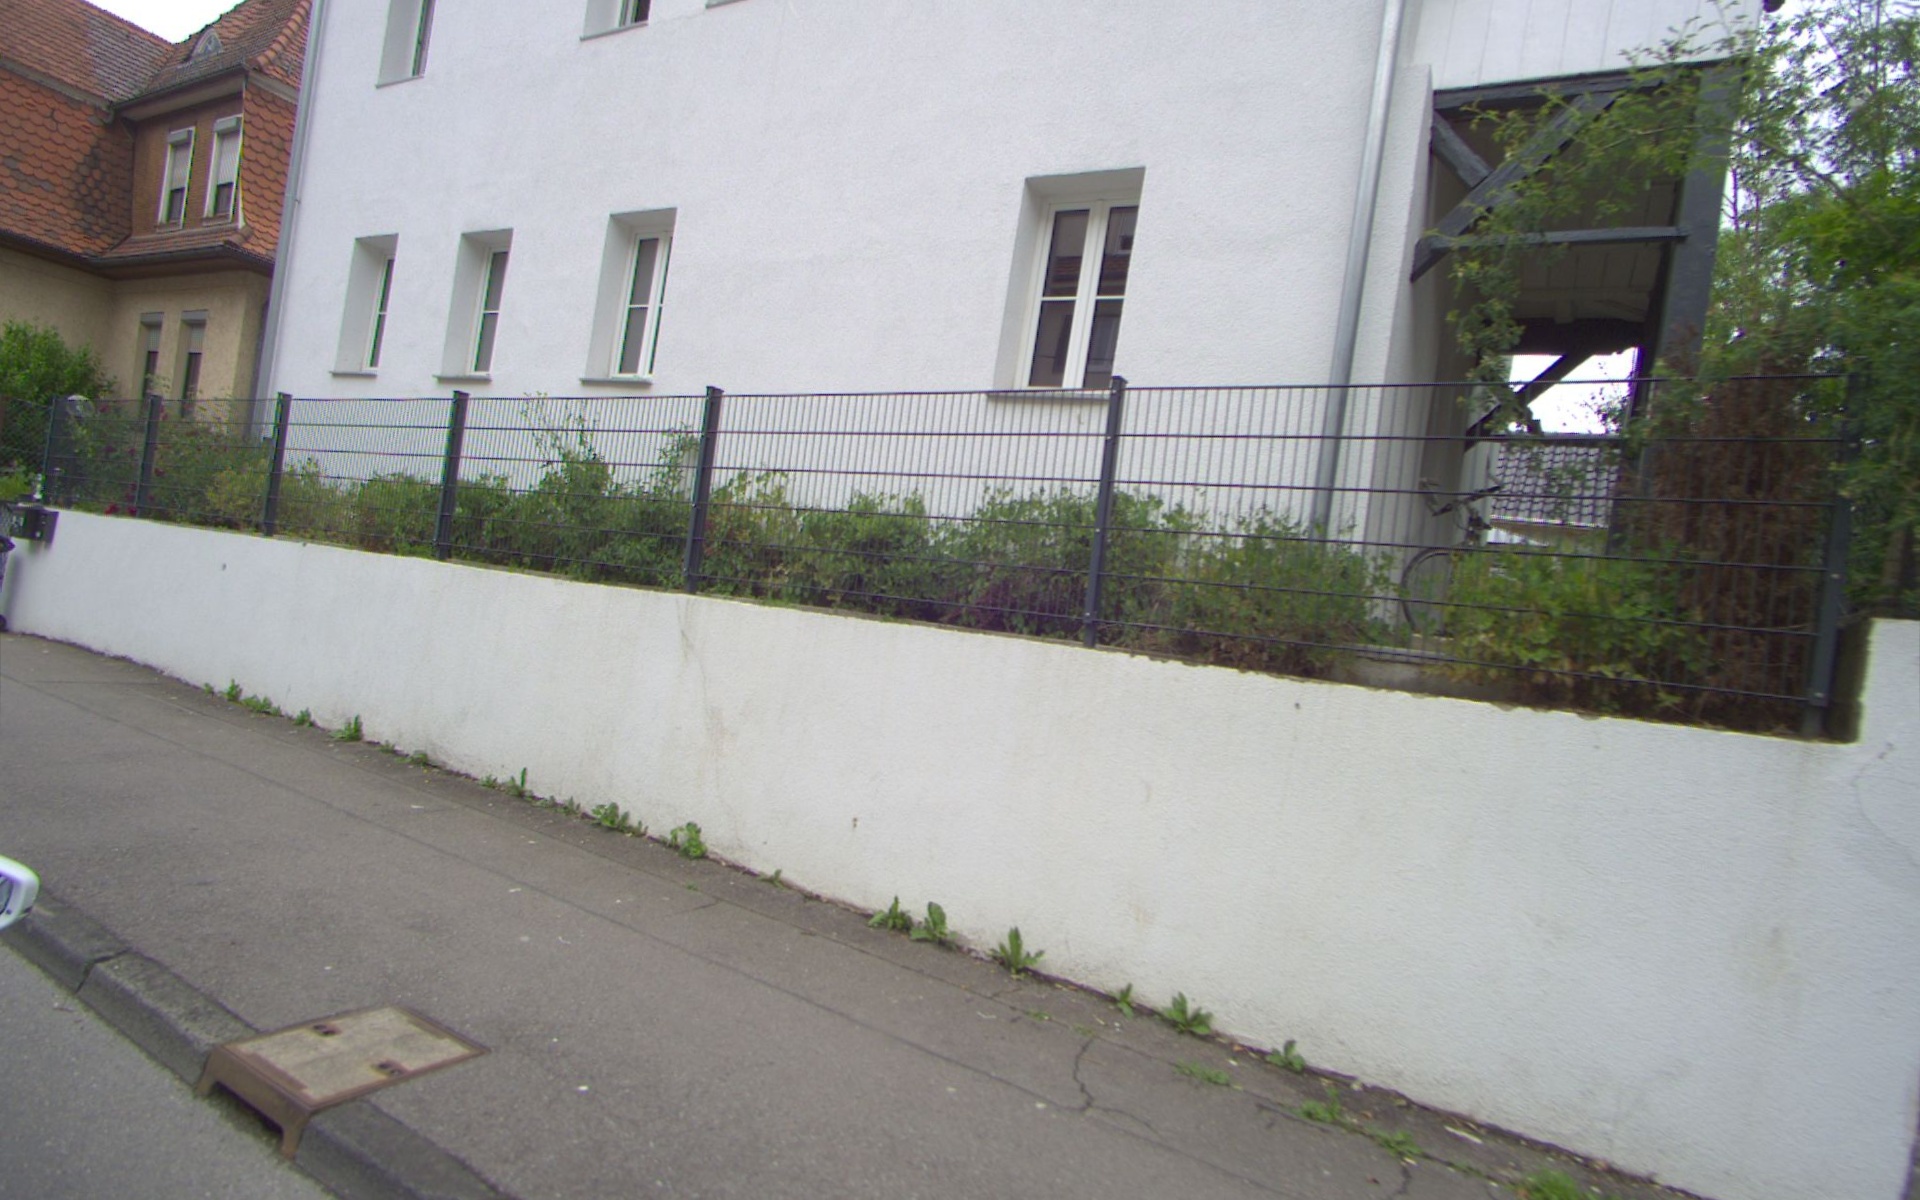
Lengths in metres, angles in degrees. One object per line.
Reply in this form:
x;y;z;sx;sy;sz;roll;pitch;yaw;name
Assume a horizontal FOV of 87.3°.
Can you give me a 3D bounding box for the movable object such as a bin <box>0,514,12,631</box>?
-10.215;-0.312;10.306;0.623;1.193;0.528;7;2;30;movable object such as a bin
